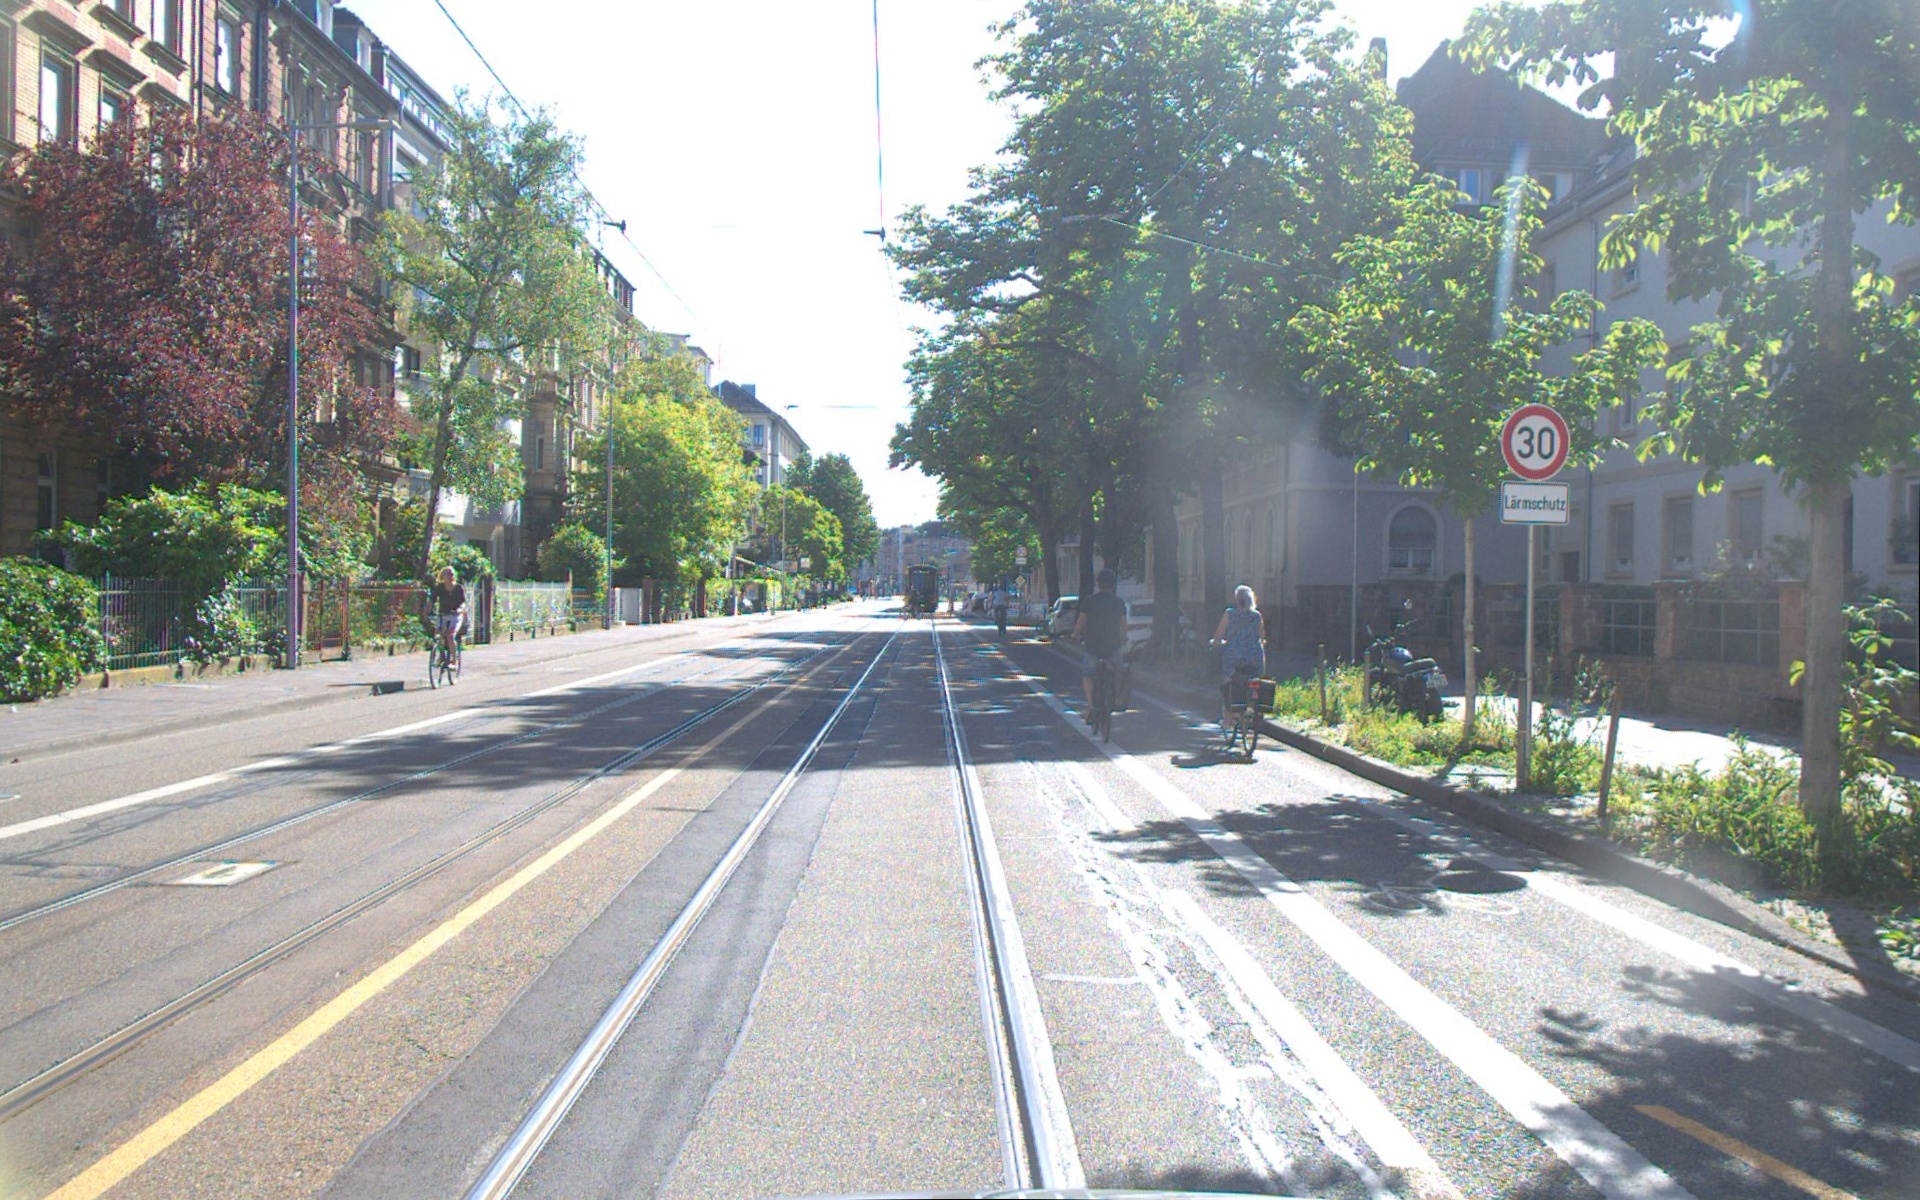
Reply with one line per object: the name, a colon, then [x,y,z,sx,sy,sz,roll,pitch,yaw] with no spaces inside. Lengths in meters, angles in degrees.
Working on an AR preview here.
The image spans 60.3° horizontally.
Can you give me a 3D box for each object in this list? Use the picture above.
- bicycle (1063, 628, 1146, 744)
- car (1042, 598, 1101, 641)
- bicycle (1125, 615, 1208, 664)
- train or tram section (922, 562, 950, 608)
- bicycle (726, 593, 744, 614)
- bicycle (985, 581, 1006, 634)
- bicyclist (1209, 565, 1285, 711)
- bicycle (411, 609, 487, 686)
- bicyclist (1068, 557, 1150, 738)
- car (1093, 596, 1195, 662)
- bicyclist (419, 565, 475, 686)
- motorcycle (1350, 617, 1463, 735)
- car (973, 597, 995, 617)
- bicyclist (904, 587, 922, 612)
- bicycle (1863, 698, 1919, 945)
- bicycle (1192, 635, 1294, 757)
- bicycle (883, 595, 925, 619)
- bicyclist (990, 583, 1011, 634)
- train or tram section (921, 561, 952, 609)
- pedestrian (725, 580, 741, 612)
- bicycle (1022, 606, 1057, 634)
bicycle: [1.541,0.898,17.890,0.678,1.132,1.718,2,0,-1]
car: [3.884,0.652,58.244,1.713,1.445,3.999,0,0,-2]
bicycle: [4.586,0.880,36.771,1.756,1.037,0.620,-1,0,-2]
train or tram section: [-1.953,-1.186,132.817,2.110,3.491,6.609,2,0,-2]
bicycle: [-12.074,0.181,88.686,0.623,1.088,1.822,2,0,-18]
bicycle: [1.290,0.272,60.681,0.649,1.891,2.260,2,0,0]
bicyclist: [3.013,0.392,17.415,0.622,1.493,0.616,2,0,-1]
bicycle: [-7.931,0.726,25.750,0.678,1.132,1.718,0,0,-1]
bicyclist: [1.603,0.499,17.923,0.713,1.880,0.836,2,0,-2]
car: [4.336,0.643,39.675,1.596,1.461,4.661,0,0,-4]
bicyclist: [-7.921,0.383,25.545,0.647,1.833,0.615,-1,-1,-1]
motorcycle: [5.037,0.831,18.772,0.486,1.211,1.858,-3,1,-9]
car: [2.037,0.571,141.204,1.719,1.579,3.676,2,0,-2]
bicyclist: [-2.574,-0.047,89.875,0.756,1.314,0.734,2,0,15]
bicycle: [5.197,1.004,7.647,1.758,1.086,0.620,-1,0,-6]
bicycle: [2.959,0.981,17.491,0.678,1.132,1.917,2,0,-1]
bicycle: [-3.028,0.375,89.992,2.094,1.191,0.803,3,0,14]
bicyclist: [1.464,0.302,60.117,0.632,1.827,0.955,2,0,-2]
train or tram section: [-1.810,-1.148,126.209,2.110,3.491,6.609,2,0,-2]
pedestrian: [-12.464,-0.235,90.772,0.754,1.742,0.669,2,0,-1]
bicycle: [3.051,0.770,63.452,1.243,1.042,0.704,3,-1,6]
